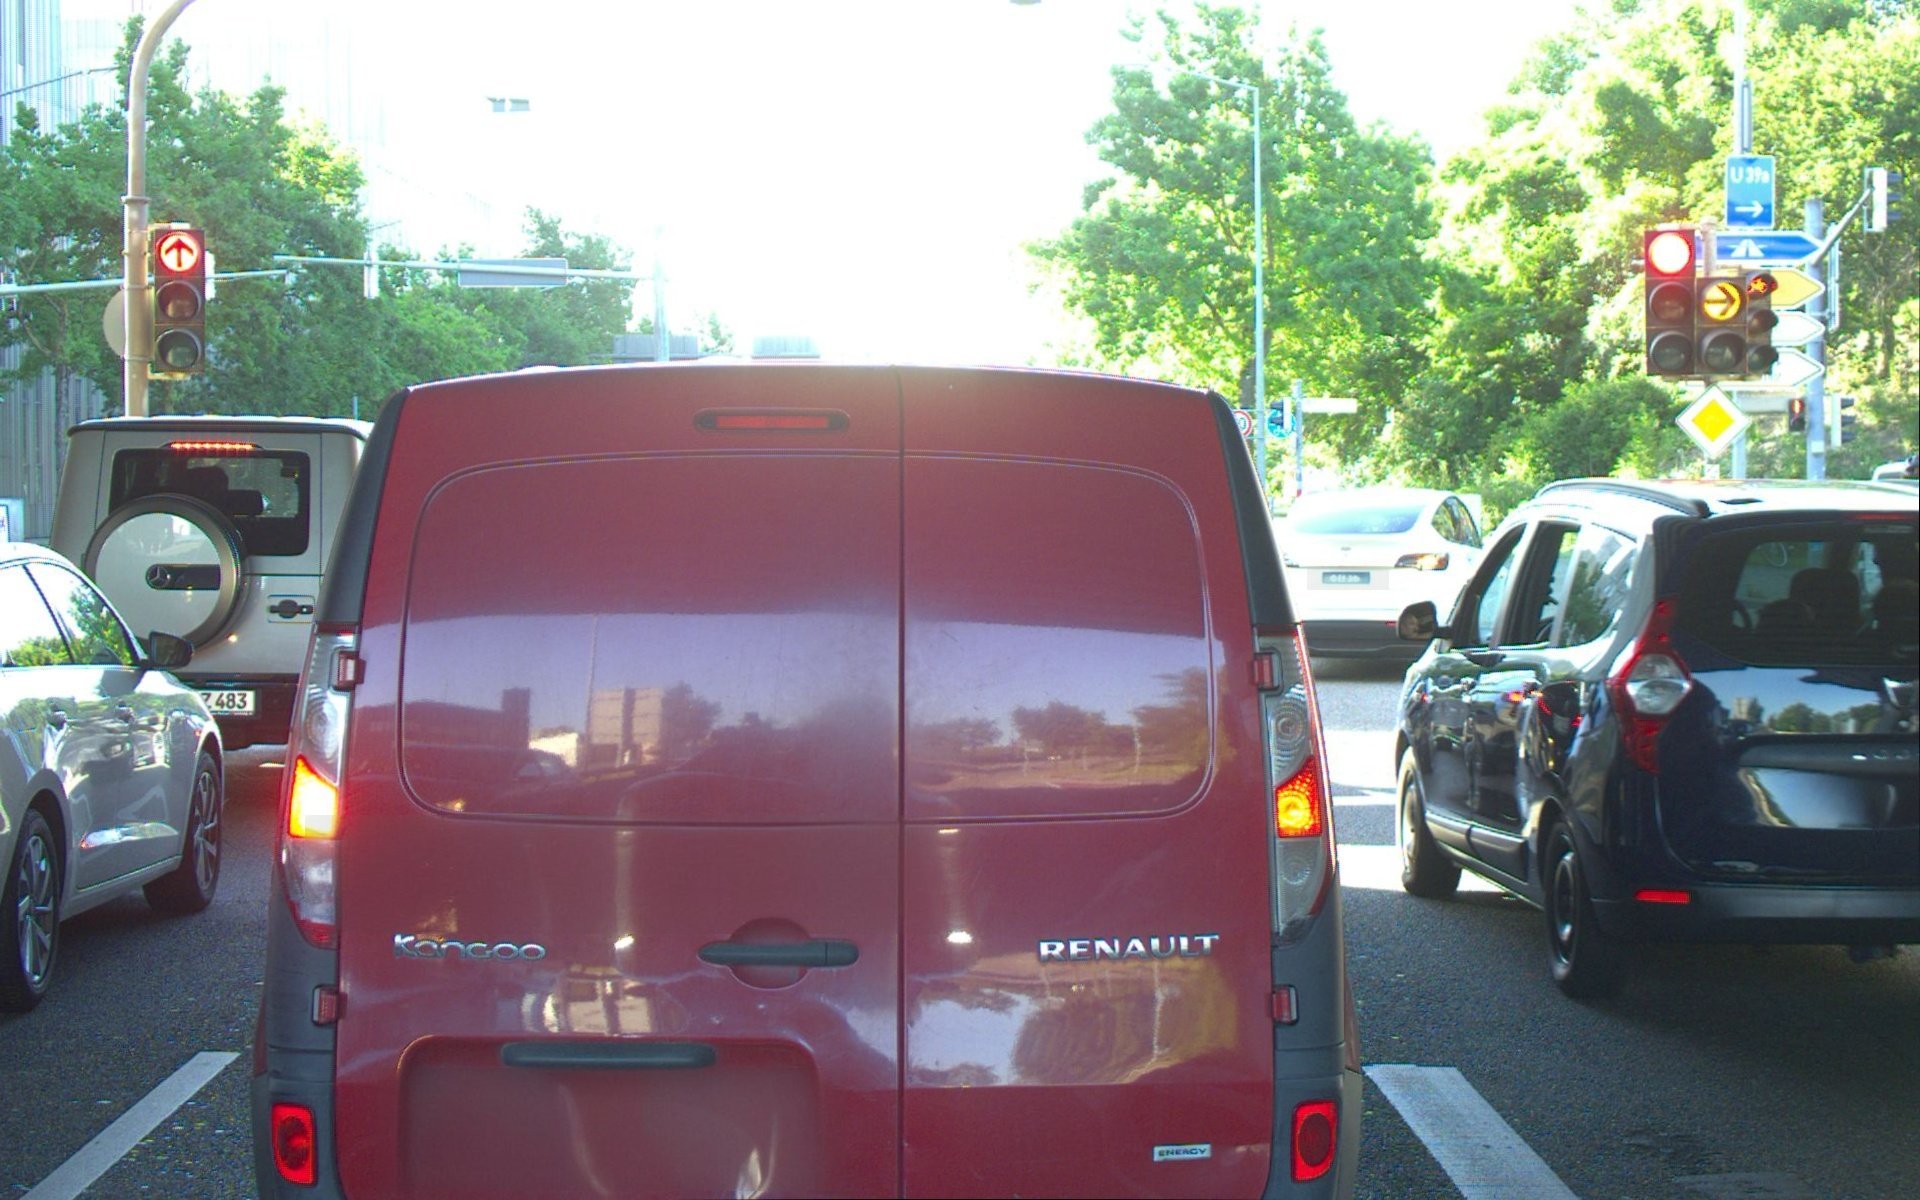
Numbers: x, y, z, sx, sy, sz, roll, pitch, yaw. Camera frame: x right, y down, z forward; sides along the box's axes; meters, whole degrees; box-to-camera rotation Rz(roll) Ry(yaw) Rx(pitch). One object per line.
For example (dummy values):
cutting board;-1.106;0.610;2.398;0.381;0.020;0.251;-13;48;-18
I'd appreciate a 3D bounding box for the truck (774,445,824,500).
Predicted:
truck;-9.310;-7.368;198.984;2.409;3.016;6.657;-2;2;0

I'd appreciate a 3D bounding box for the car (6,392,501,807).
car;-3.719;-0.023;18.898;1.801;1.982;4.589;1;1;-1

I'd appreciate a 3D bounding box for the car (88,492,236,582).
car;-16.567;-1.338;71.612;1.825;1.731;4.629;-2;2;1

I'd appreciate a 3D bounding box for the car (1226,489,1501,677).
car;3.644;-0.182;30.412;1.882;1.538;4.191;0;1;14

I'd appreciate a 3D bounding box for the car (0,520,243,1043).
car;-3.644;0.471;11.396;1.813;1.433;3.731;0;2;-1

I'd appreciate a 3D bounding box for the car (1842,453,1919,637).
car;11.824;-0.579;36.218;4.635;1.879;1.887;0;1;-20

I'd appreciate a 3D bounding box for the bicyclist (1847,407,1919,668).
bicyclist;6.045;-0.388;21.741;0.591;1.608;0.942;1;0;-1

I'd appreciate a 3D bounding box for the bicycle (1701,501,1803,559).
bicycle;14.355;-1.265;62.364;1.745;1.020;0.593;1;0;9

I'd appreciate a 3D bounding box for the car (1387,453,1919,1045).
car;2.647;0.392;11.889;1.719;1.700;3.982;0;1;-2

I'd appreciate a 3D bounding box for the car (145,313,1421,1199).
car;-0.278;0.478;6.912;1.805;1.788;4.000;1;1;-1

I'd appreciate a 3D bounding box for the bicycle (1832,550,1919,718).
bicycle;6.052;0.200;21.750;0.591;1.020;1.750;1;1;-1
